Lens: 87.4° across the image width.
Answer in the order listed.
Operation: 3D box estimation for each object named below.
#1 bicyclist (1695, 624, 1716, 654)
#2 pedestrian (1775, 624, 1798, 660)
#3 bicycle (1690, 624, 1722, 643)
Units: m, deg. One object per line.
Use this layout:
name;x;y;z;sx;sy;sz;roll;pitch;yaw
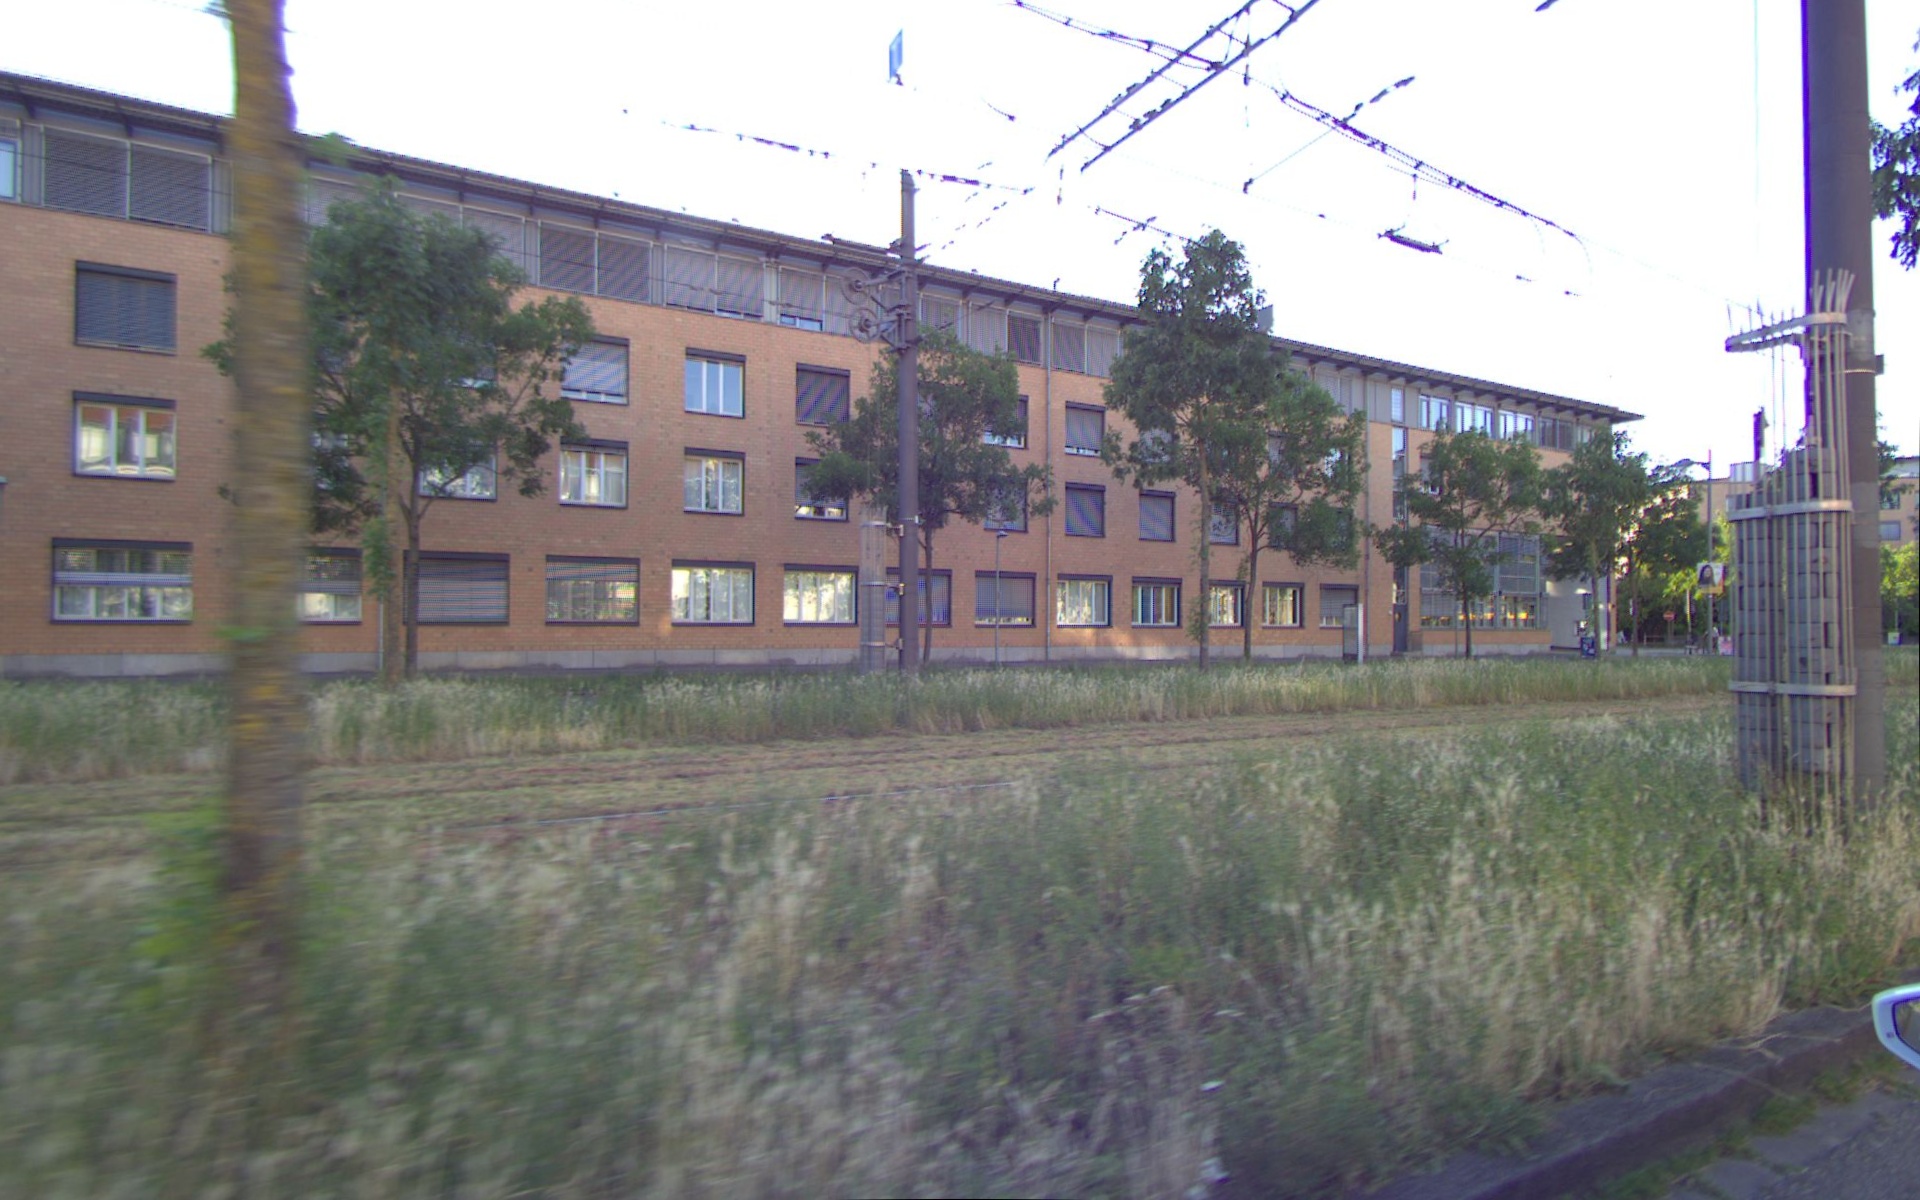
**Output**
bicyclist;42.336;2.220;57.022;0.815;1.696;0.692;1;-1;-29
pedestrian;40.301;2.052;48.967;0.821;1.720;0.683;1;-1;-37
bicycle;42.356;1.924;57.042;2.068;1.066;0.706;1;-1;-29
